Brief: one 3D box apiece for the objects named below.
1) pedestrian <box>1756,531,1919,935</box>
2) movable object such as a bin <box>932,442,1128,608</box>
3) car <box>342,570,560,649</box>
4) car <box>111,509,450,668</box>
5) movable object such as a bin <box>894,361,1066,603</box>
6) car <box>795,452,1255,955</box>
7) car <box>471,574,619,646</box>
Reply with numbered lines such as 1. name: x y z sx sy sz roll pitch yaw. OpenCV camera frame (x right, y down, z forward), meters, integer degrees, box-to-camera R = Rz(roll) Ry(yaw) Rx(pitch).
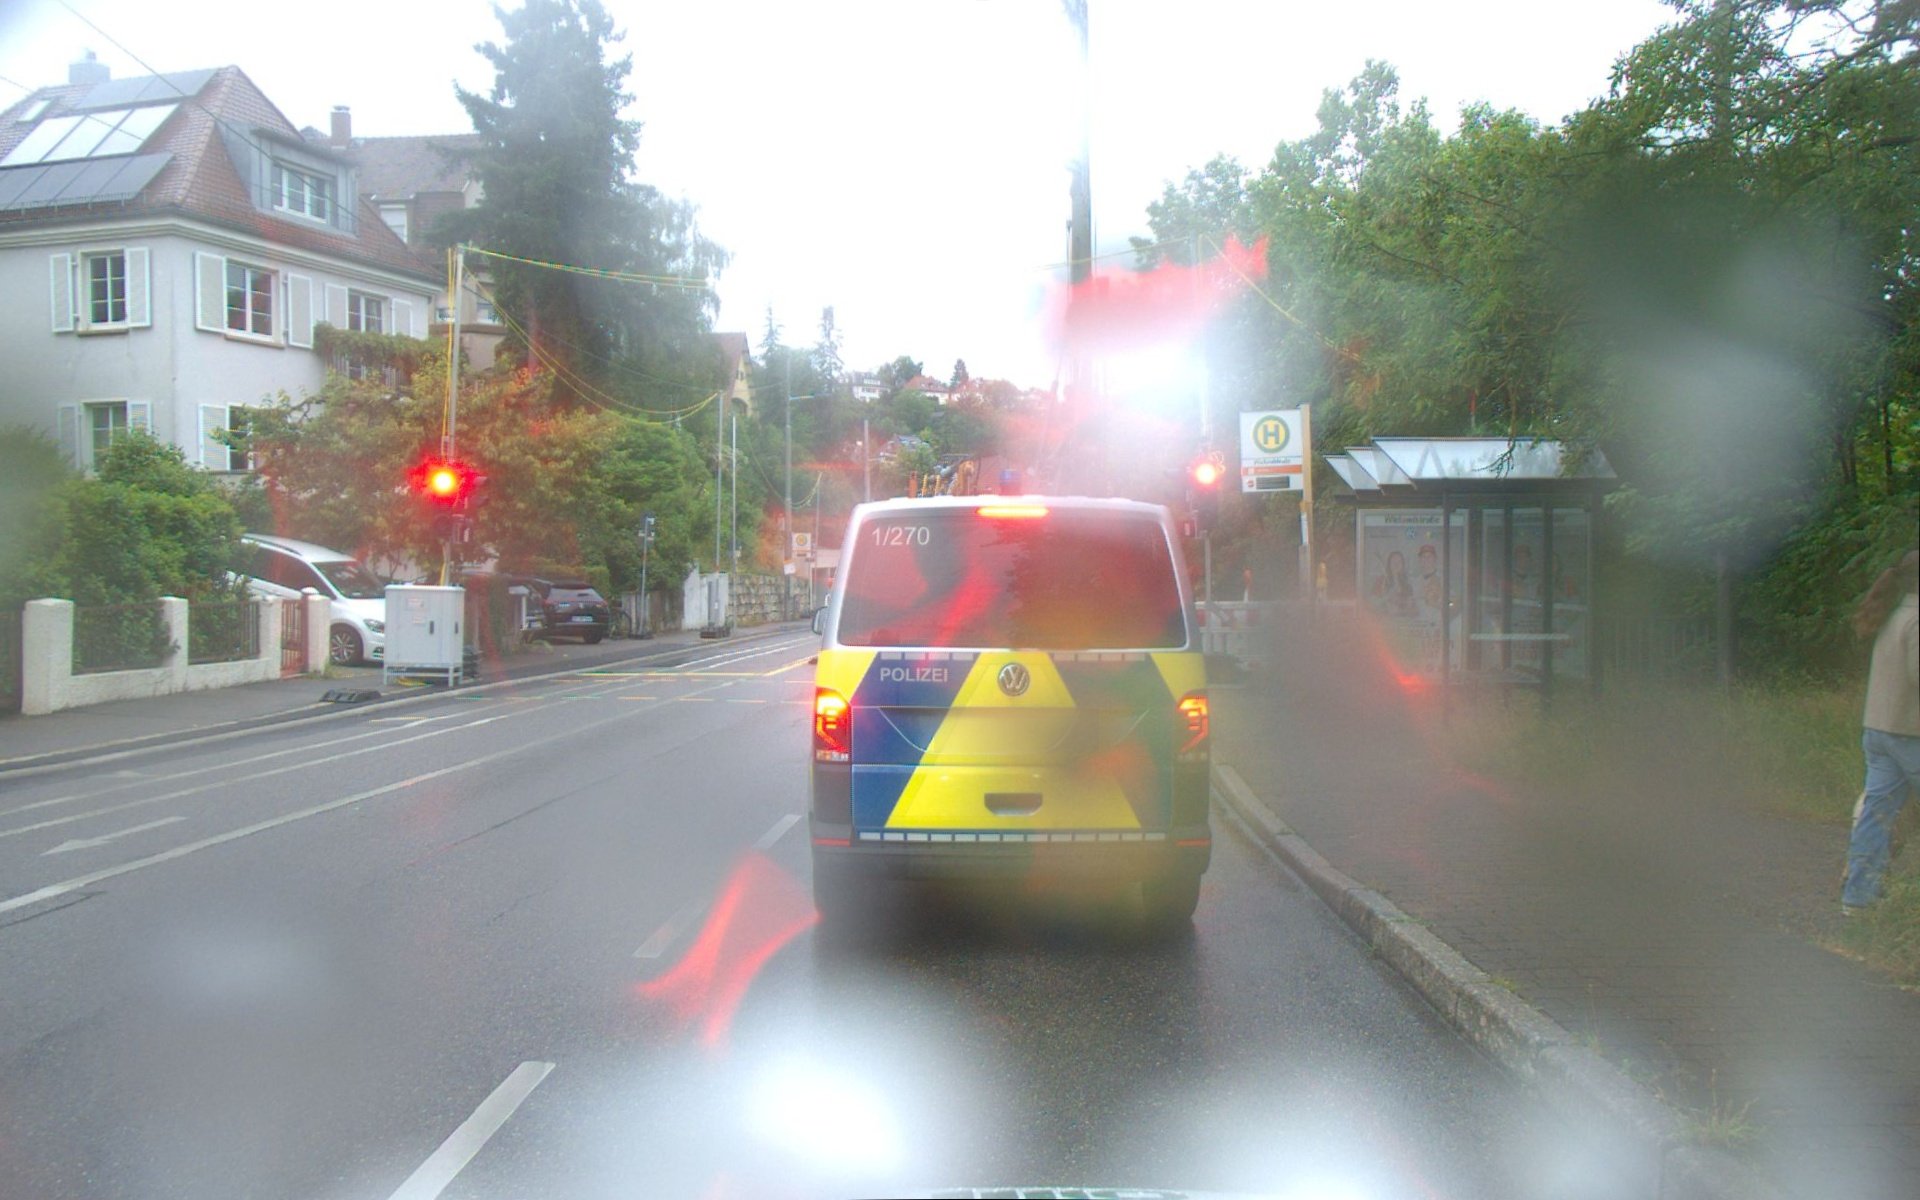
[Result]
1. pedestrian: 3.991 0.544 7.111 0.736 1.632 0.731 1 -1 -8
2. movable object such as a bin: 2.483 -2.368 55.906 3.615 5.155 7.147 -1 -1 31
3. car: -10.640 0.188 34.713 3.902 1.552 1.942 1 0 12
4. car: -11.186 -0.224 27.313 4.865 1.642 1.865 11 4 13
5. movable object such as a bin: 0.485 -2.143 31.656 2.817 4.243 4.491 -1 1 6
6. car: 0.241 0.437 9.038 1.869 2.046 4.438 1 0 -1
7. car: -9.522 0.211 37.795 1.769 1.552 3.943 1 0 -39
